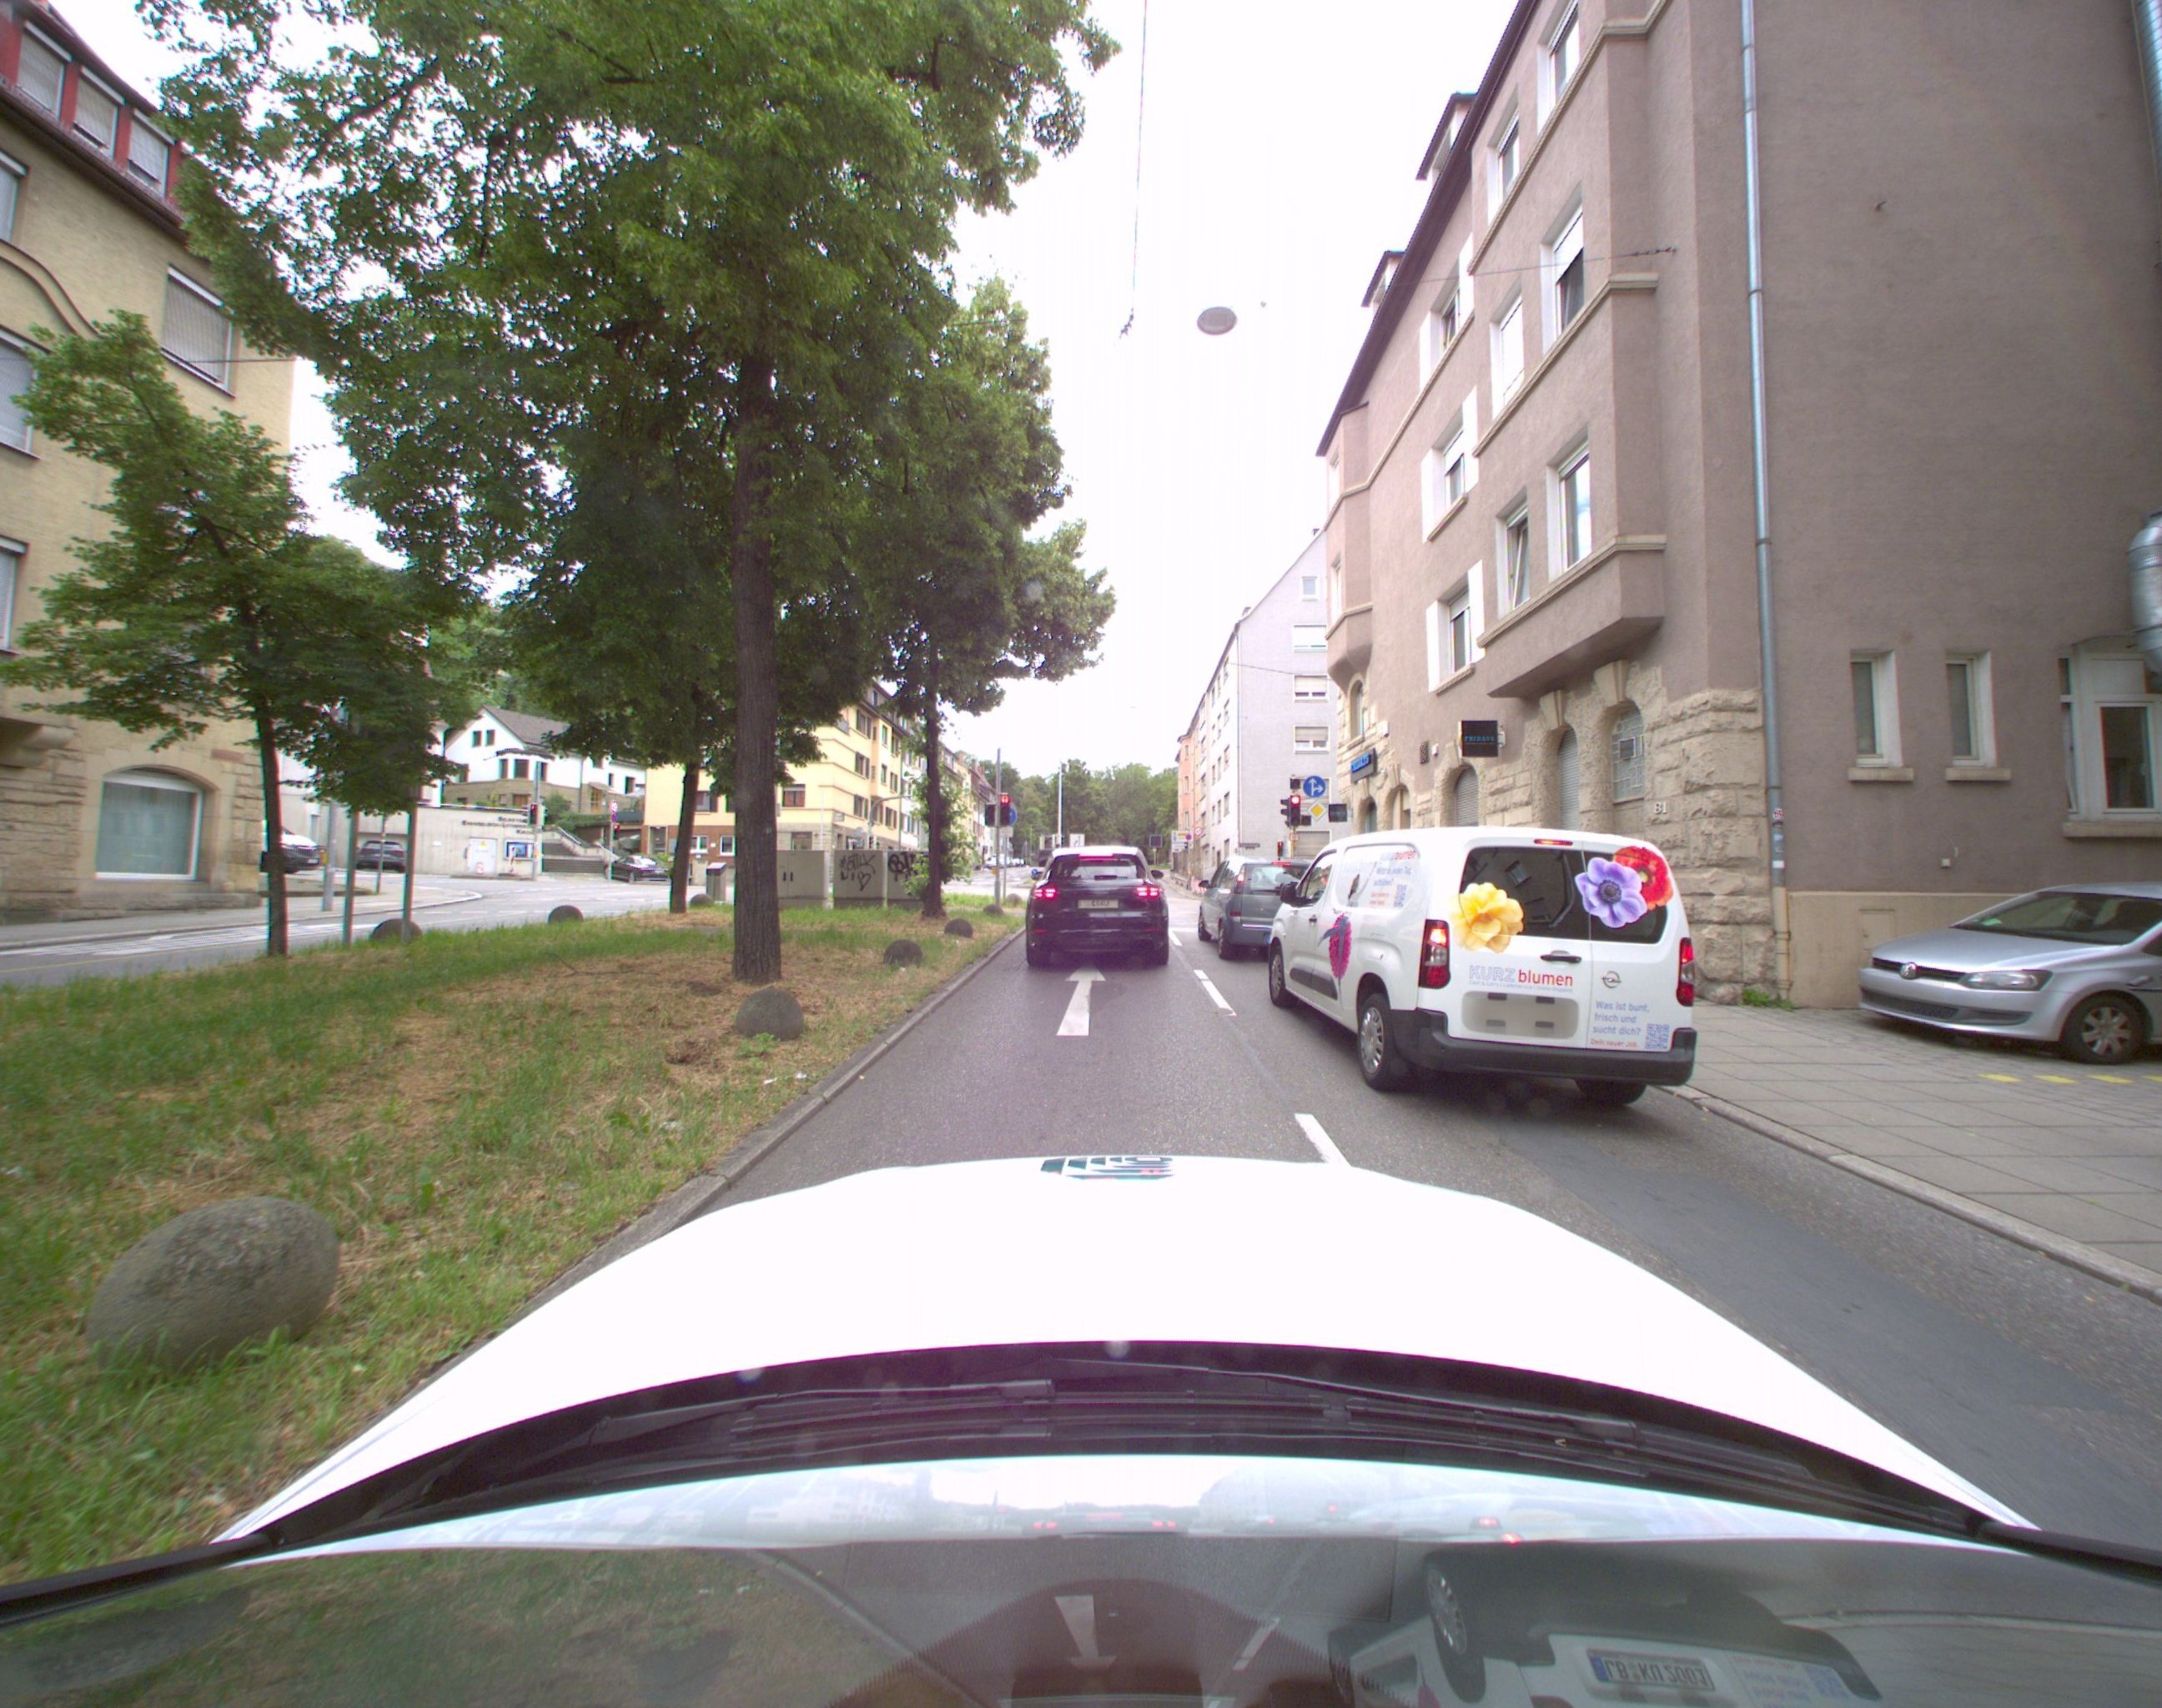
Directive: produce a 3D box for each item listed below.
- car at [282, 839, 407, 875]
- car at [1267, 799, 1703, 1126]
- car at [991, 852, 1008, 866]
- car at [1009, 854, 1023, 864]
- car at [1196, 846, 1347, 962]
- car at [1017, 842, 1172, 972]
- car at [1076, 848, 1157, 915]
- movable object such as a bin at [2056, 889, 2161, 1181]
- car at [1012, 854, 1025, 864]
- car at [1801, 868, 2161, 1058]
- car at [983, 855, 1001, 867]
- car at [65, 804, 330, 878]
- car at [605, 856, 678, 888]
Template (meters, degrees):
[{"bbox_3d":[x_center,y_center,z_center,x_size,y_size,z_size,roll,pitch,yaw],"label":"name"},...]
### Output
[{"bbox_3d":[-32.567,0.132,36.134,4.021,1.510,1.779,1,0,-41],"label":"car"},{"bbox_3d":[2.893,0.671,7.207,1.840,1.825,5.029,1,-1,6],"label":"car"},{"bbox_3d":[-10.981,0.670,109.605,1.788,1.810,4.001,0,0,1],"label":"car"},{"bbox_3d":[-10.465,0.785,130.990,1.788,1.510,4.001,0,0,1],"label":"car"},{"bbox_3d":[3.004,0.732,13.567,1.745,1.593,3.632,3,0,2],"label":"car"},{"bbox_3d":[0.282,0.668,12.503,1.986,1.653,4.003,-1,0,3],"label":"car"},{"bbox_3d":[0.995,0.709,22.287,1.986,1.653,4.003,-1,-1,3],"label":"car"},{"bbox_3d":[5.675,0.888,3.577,0.717,1.421,1.693,-1,-1,0],"label":"movable object such as a bin"},{"bbox_3d":[-10.430,0.804,135.892,1.788,1.510,4.001,0,0,1],"label":"car"},{"bbox_3d":[9.300,0.891,7.331,3.971,1.403,1.802,0,2,2],"label":"car"},{"bbox_3d":[-11.358,0.847,104.584,1.788,1.510,4.001,0,0,1],"label":"car"},{"bbox_3d":[-27.316,-0.350,25.468,5.186,2.064,1.982,2,-1,-21],"label":"car"},{"bbox_3d":[-23.947,1.000,44.350,3.948,1.665,1.894,-1,-2,35],"label":"car"}]
